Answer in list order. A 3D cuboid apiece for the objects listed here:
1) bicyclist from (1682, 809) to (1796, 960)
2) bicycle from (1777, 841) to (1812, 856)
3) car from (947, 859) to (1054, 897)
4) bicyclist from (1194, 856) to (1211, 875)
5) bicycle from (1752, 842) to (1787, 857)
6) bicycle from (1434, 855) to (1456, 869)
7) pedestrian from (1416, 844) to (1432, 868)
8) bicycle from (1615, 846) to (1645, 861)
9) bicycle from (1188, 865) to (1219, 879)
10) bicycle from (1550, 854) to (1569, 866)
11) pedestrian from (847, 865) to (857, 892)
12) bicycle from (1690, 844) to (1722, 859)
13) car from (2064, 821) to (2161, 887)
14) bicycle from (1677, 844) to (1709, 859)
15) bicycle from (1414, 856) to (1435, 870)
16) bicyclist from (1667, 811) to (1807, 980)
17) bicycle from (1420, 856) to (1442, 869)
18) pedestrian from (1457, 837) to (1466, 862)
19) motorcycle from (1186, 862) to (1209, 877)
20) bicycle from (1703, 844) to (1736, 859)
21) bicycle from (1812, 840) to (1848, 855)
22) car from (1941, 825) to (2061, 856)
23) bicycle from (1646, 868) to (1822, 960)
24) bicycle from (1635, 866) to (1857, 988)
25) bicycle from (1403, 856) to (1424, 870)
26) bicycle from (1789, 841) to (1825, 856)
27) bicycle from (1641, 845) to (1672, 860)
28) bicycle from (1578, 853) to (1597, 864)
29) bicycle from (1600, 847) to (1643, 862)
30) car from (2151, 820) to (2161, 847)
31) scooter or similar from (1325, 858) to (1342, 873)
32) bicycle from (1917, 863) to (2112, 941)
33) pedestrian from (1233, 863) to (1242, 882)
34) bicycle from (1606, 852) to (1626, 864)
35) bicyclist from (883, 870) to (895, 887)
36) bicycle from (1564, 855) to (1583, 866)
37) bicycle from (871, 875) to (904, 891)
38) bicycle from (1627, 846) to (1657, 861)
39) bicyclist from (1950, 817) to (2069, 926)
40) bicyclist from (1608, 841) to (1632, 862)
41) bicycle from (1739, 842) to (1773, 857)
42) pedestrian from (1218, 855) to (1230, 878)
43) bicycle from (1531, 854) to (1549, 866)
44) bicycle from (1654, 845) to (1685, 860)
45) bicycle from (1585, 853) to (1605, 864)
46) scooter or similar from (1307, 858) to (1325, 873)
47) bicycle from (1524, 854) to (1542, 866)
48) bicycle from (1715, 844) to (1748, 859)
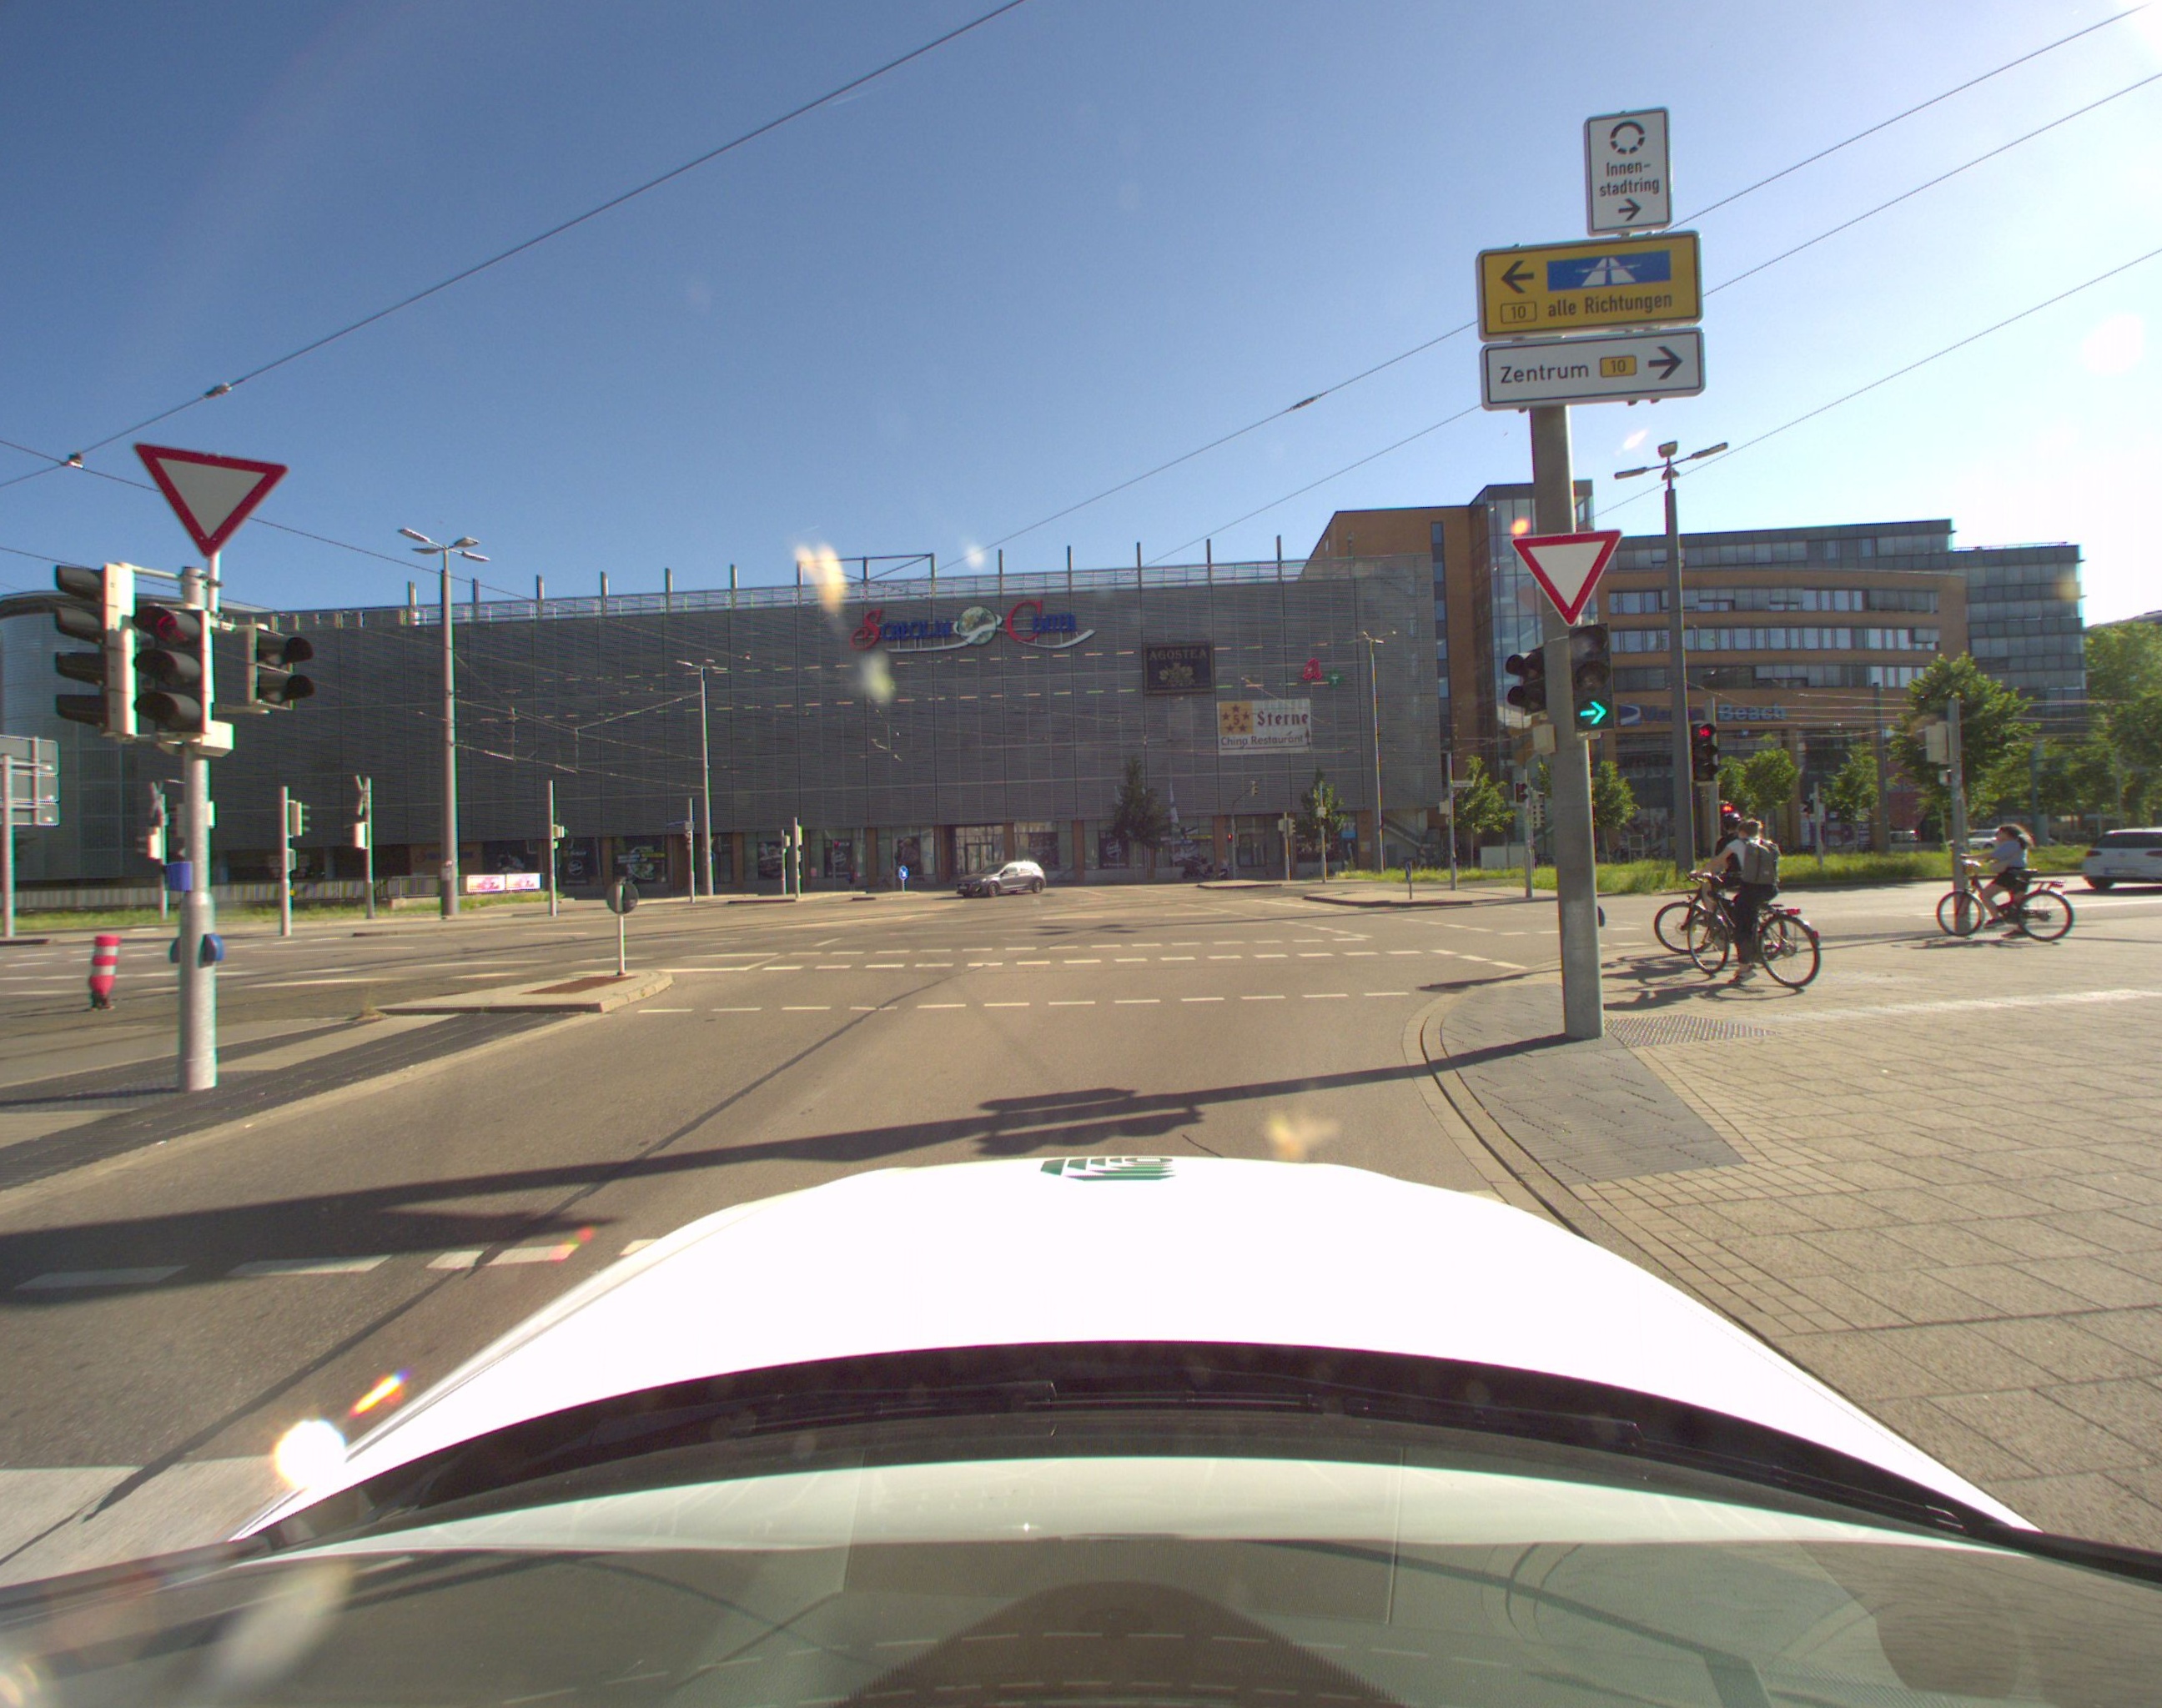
[{"bbox_3d":[8.253,0.379,10.251,0.547,1.798,0.905,-3,-2,-4],"label":"bicyclist"},{"bbox_3d":[55.456,-0.438,63.337,0.749,1.123,2.177,-2,0,-3],"label":"bicycle"},{"bbox_3d":[-3.437,1.009,35.328,4.335,1.499,1.975,-1,-1,-45],"label":"car"},{"bbox_3d":[8.421,0.794,56.439,1.032,1.318,0.682,-2,-1,1],"label":"bicyclist"},{"bbox_3d":[53.111,-0.348,62.857,0.749,1.123,2.177,-2,0,-3],"label":"bicycle"},{"bbox_3d":[26.530,0.592,59.412,0.490,0.954,2.177,-2,0,-3],"label":"bicycle"},{"bbox_3d":[24.119,0.126,57.329,0.776,1.685,0.595,-2,-1,-12],"label":"pedestrian"},{"bbox_3d":[42.643,-0.076,63.294,0.749,1.123,2.177,-2,0,-3],"label":"bicycle"},{"bbox_3d":[8.470,1.258,56.438,2.034,0.867,0.682,-2,-1,0],"label":"bicycle"},{"bbox_3d":[35.420,0.453,60.280,0.443,0.819,1.449,-2,0,-3],"label":"bicycle"},{"bbox_3d":[-15.151,1.622,53.911,0.625,1.751,0.585,-1,-1,-17],"label":"pedestrian"},{"bbox_3d":[48.489,-0.222,63.188,0.749,1.123,2.177,-2,0,-3],"label":"bicycle"},{"bbox_3d":[25.489,-0.062,18.653,4.274,1.403,1.775,-2,1,-6],"label":"car"},{"bbox_3d":[47.484,-0.199,63.223,0.749,1.123,2.177,-2,0,-3],"label":"bicycle"},{"bbox_3d":[24.979,0.621,59.286,0.490,0.954,2.177,-2,0,-3],"label":"bicycle"},{"bbox_3d":[6.867,0.414,8.585,0.591,1.654,1.004,-3,-1,2],"label":"bicyclist"},{"bbox_3d":[25.518,0.604,59.434,0.490,0.954,2.177,-2,0,-3],"label":"bicycle"},{"bbox_3d":[29.279,-0.331,62.726,0.536,1.915,0.375,-1,-1,9],"label":"pedestrian"},{"bbox_3d":[8.416,1.109,59.030,1.607,1.038,0.402,-2,-1,2],"label":"motorcycle"},{"bbox_3d":[49.524,-0.228,63.206,0.749,1.123,2.177,-2,0,-3],"label":"bicycle"},{"bbox_3d":[58.207,-0.496,63.324,0.749,1.123,2.177,-2,0,-3],"label":"bicycle"},{"bbox_3d":[54.383,-0.778,48.158,5.521,1.652,1.810,-2,-1,-6],"label":"car"},{"bbox_3d":[8.259,0.734,10.427,0.603,1.038,1.893,-3,-2,-3],"label":"bicycle"},{"bbox_3d":[6.890,0.704,8.611,0.692,1.105,2.012,-3,-2,2],"label":"bicycle"},{"bbox_3d":[24.153,0.656,59.228,0.490,0.954,2.177,-2,0,-3],"label":"bicycle"},{"bbox_3d":[56.398,-0.424,63.278,0.749,1.123,2.177,-2,0,-3],"label":"bicycle"},{"bbox_3d":[44.828,-0.112,63.485,0.749,1.123,2.177,-2,0,-3],"label":"bicycle"},{"bbox_3d":[37.521,0.330,60.318,0.443,0.819,1.449,-2,0,-3],"label":"bicycle"},{"bbox_3d":[38.051,0.046,57.384,2.550,1.010,0.598,-2,-1,3],"label":"bicycle"},{"bbox_3d":[83.182,-1.587,60.536,5.239,2.014,2.220,-2,-1,-10],"label":"car"},{"bbox_3d":[18.643,0.839,60.082,1.196,1.103,0.277,0,-1,3],"label":"scooter or similar"},{"bbox_3d":[12.721,0.630,11.192,0.692,0.954,1.708,-3,-2,2],"label":"bicycle"},{"bbox_3d":[10.224,1.209,53.184,0.450,1.229,0.394,-1,-1,-29],"label":"pedestrian"},{"bbox_3d":[39.797,0.301,60.621,0.443,0.819,1.449,-2,0,-3],"label":"bicycle"},{"bbox_3d":[-12.661,1.621,53.650,0.565,1.139,0.554,-1,-1,-31],"label":"bicyclist"},{"bbox_3d":[36.420,0.465,60.264,0.443,0.819,1.449,-2,0,-3],"label":"bicycle"},{"bbox_3d":[-12.749,1.917,53.591,2.028,0.985,0.554,-1,-1,-32],"label":"bicycle"},{"bbox_3d":[43.730,-0.073,63.500,0.749,1.123,2.177,-2,0,-3],"label":"bicycle"},{"bbox_3d":[12.700,0.241,11.167,0.585,1.404,0.827,-3,-2,1],"label":"bicyclist"},{"bbox_3d":[37.975,-0.153,57.388,1.303,1.407,0.594,-2,-1,3],"label":"bicyclist"},{"bbox_3d":[52.244,-0.330,63.041,0.749,1.123,2.177,-2,0,-3],"label":"bicycle"},{"bbox_3d":[9.477,0.850,53.913,0.734,1.487,0.491,-2,-1,11],"label":"pedestrian"},{"bbox_3d":[34.028,0.434,60.414,0.443,0.819,1.449,-2,0,-3],"label":"bicycle"},{"bbox_3d":[45.740,-0.158,63.327,0.749,1.123,2.177,-2,0,-3],"label":"bicycle"},{"bbox_3d":[38.056,0.311,60.327,0.443,0.819,1.449,-2,0,-3],"label":"bicycle"},{"bbox_3d":[17.334,0.819,60.026,1.196,1.103,0.277,0,-1,3],"label":"scooter or similar"},{"bbox_3d":[33.501,0.445,60.397,0.443,0.819,1.449,-2,0,-3],"label":"bicycle"},{"bbox_3d":[50.441,-0.234,63.194,0.749,1.123,2.177,-2,0,-3],"label":"bicycle"}]
